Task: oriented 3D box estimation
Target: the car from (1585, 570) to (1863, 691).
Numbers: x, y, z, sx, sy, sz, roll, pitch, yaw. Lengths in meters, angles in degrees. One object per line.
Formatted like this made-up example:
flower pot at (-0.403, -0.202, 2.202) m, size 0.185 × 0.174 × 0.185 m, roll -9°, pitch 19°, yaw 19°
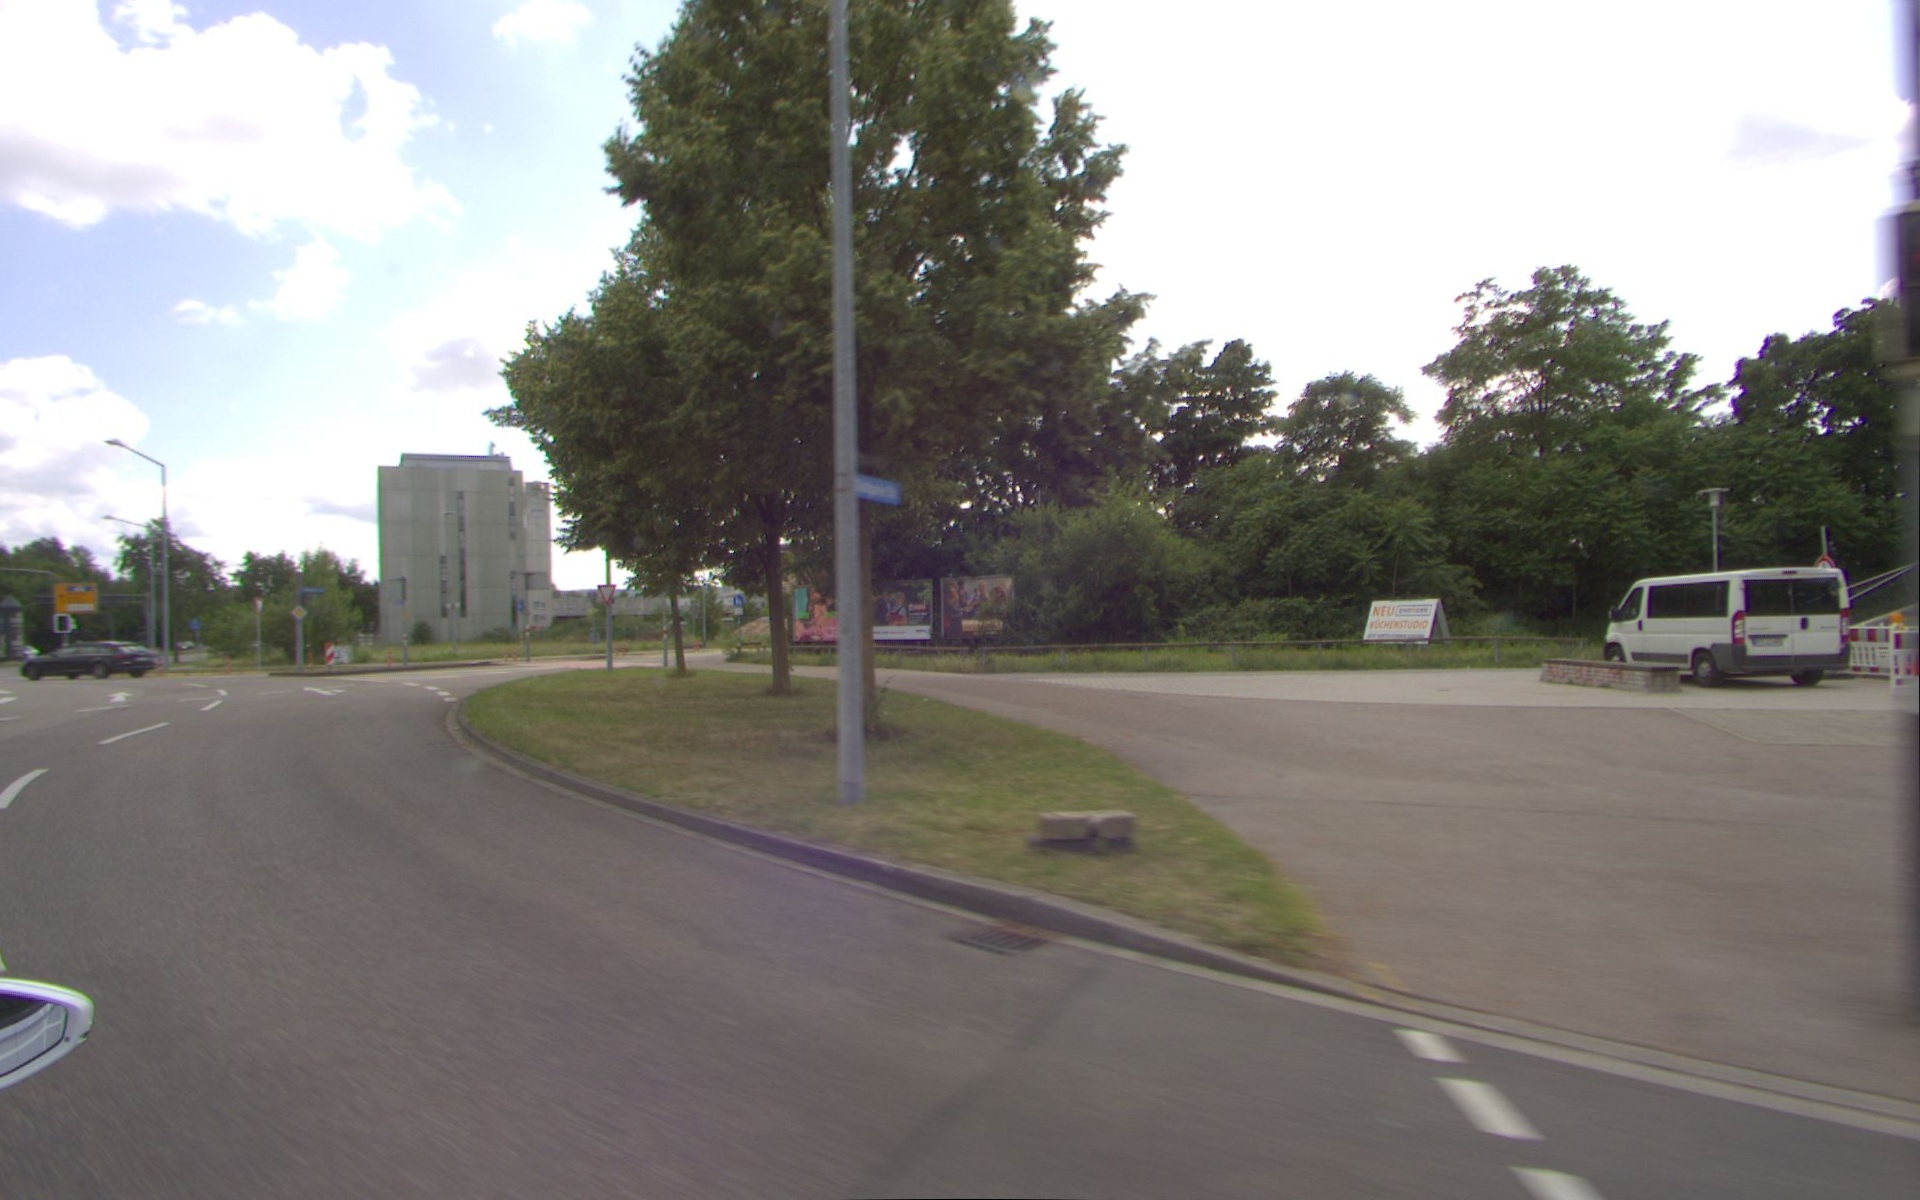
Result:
car at (15.319, 0.628, 20.574) m, size 2.107 × 2.175 × 5.153 m, roll 0°, pitch -2°, yaw 5°

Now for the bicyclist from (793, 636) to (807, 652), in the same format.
bicyclist at (-13.377, 3.696, 83.716) m, size 0.862 × 1.341 × 0.810 m, roll -1°, pitch -3°, yaw 26°

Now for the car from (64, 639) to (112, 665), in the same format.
car at (-70.775, 4.211, 81.310) m, size 1.969 × 2.039 × 3.985 m, roll 1°, pitch -2°, yaw -26°

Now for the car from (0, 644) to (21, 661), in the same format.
car at (-85.778, 4.686, 88.985) m, size 1.814 × 1.499 × 4.739 m, roll -2°, pitch -1°, yaw -24°

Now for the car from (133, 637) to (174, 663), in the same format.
car at (-57.628, 3.552, 71.595) m, size 1.975 × 1.647 × 4.279 m, roll -1°, pitch 0°, yaw -36°

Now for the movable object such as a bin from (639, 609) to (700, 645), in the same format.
movable object such as a bin at (-33.791, 3.201, 116.728) m, size 2.995 × 3.900 × 7.608 m, roll -1°, pitch -3°, yaw 19°

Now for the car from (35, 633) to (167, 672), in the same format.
car at (-33.967, 2.074, 39.636) m, size 3.922 × 1.482 × 1.690 m, roll 0°, pitch -2°, yaw 5°
